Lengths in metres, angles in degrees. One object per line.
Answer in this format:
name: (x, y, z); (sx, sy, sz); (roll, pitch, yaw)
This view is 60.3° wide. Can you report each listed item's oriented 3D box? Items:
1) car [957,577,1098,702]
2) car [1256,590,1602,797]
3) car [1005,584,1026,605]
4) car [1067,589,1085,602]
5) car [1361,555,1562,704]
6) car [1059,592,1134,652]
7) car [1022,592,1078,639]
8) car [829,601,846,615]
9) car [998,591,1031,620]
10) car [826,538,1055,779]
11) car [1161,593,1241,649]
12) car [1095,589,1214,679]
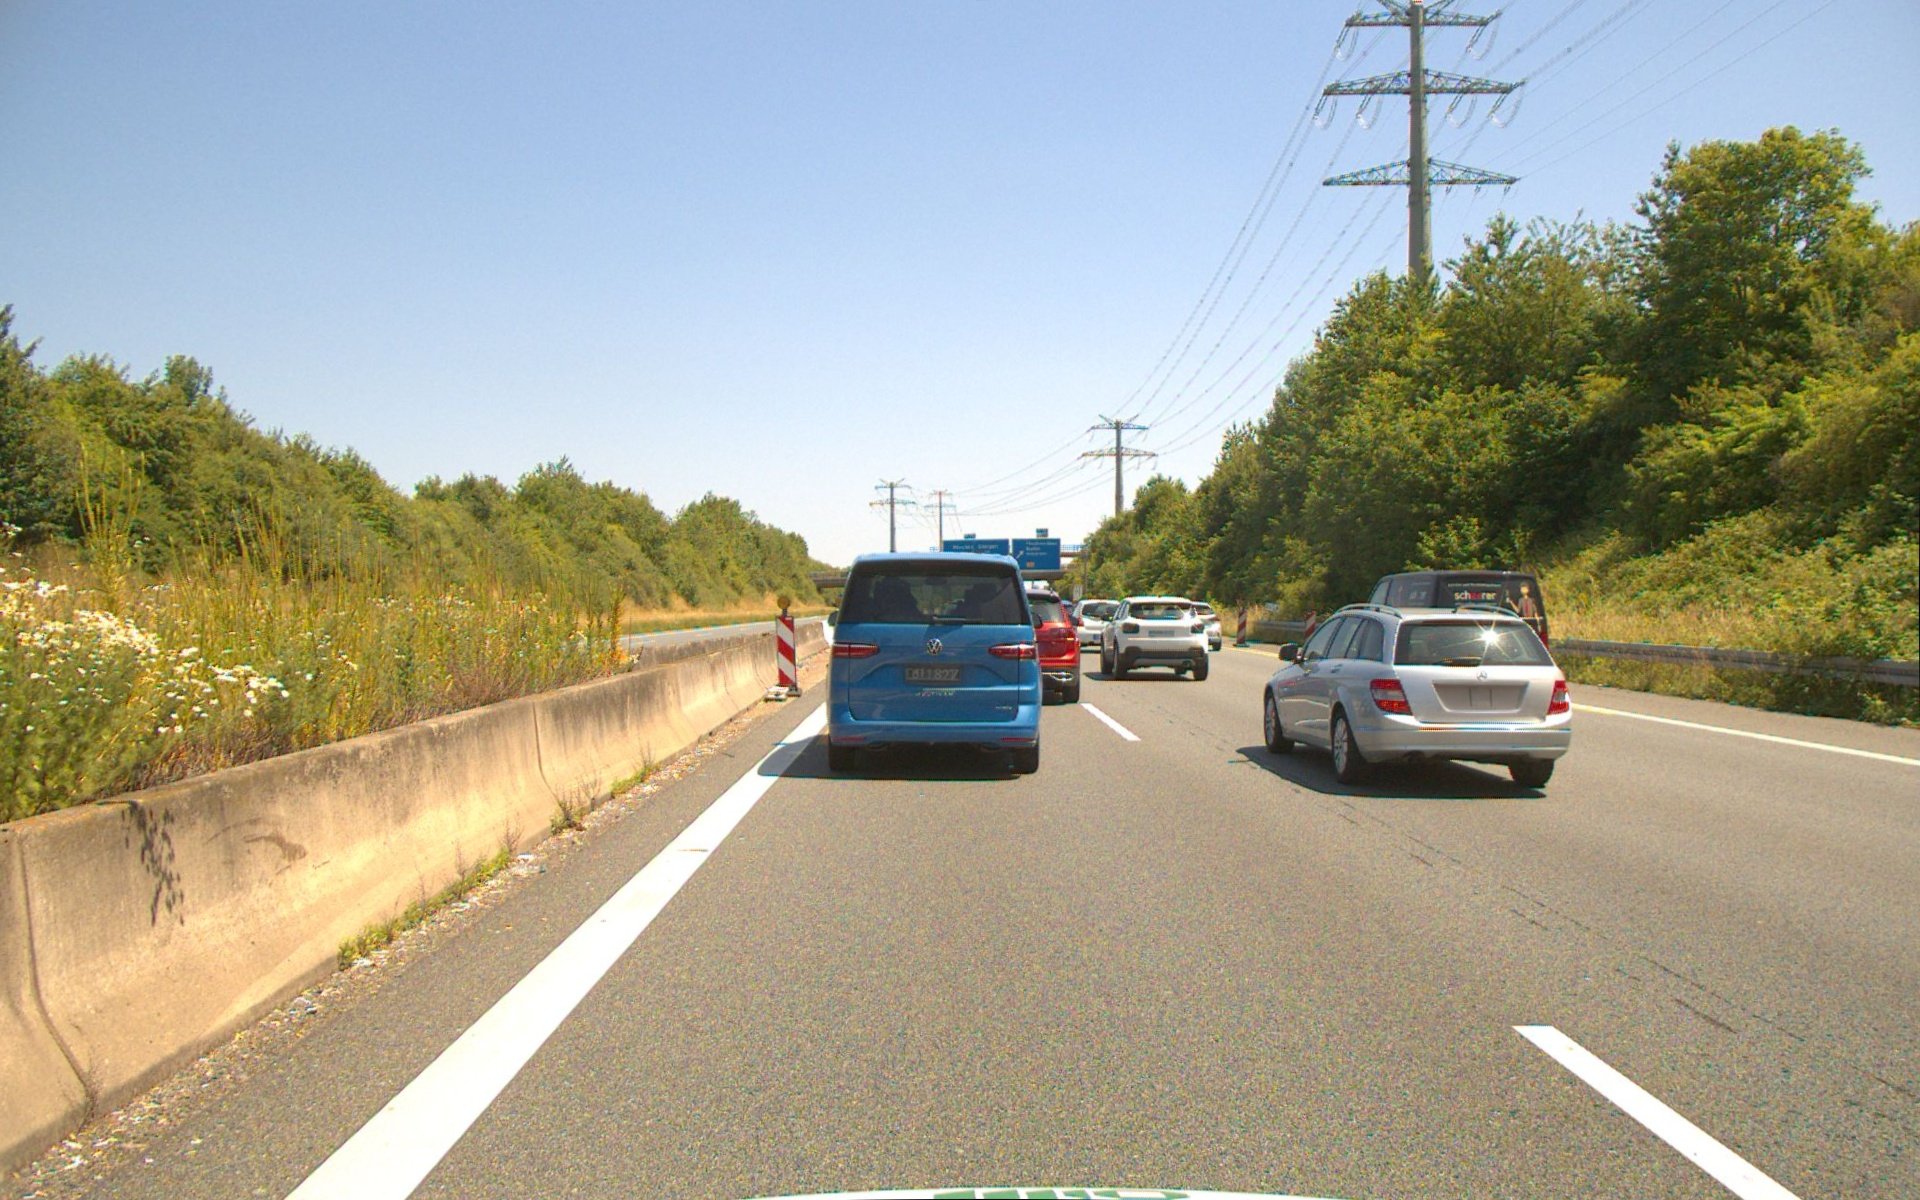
car: (0.937, 0.557, 25.172); (1.836, 1.700, 4.358); (1, 0, -2)
car: (3.957, 0.717, 14.748); (1.735, 1.544, 4.358); (1, 0, -2)
car: (6.641, -0.674, 198.507); (2.329, 2.470, 4.226); (1, 0, -1)
car: (15.126, -0.585, 215.489); (1.836, 1.700, 4.358); (1, 0, -2)
car: (7.525, 0.415, 25.227); (1.761, 2.049, 4.226); (1, 0, 0)
car: (3.924, 0.623, 48.194); (1.761, 1.622, 4.226); (1, 0, -1)
car: (3.233, 0.555, 60.086); (1.761, 1.622, 4.226); (1, 0, -1)
car: (-16.610, 1.053, 224.336); (1.953, 1.678, 4.629); (-3, 0, -1)
car: (3.224, 0.322, 98.763); (1.761, 1.622, 4.226); (1, 0, -1)
car: (-0.215, 0.487, 15.731); (1.836, 1.945, 4.358); (1, 0, -2)
car: (7.364, 0.624, 50.910); (1.761, 1.622, 4.226); (1, 0, -1)
car: (3.733, 0.635, 32.376); (1.761, 1.622, 4.226); (1, 0, -1)
